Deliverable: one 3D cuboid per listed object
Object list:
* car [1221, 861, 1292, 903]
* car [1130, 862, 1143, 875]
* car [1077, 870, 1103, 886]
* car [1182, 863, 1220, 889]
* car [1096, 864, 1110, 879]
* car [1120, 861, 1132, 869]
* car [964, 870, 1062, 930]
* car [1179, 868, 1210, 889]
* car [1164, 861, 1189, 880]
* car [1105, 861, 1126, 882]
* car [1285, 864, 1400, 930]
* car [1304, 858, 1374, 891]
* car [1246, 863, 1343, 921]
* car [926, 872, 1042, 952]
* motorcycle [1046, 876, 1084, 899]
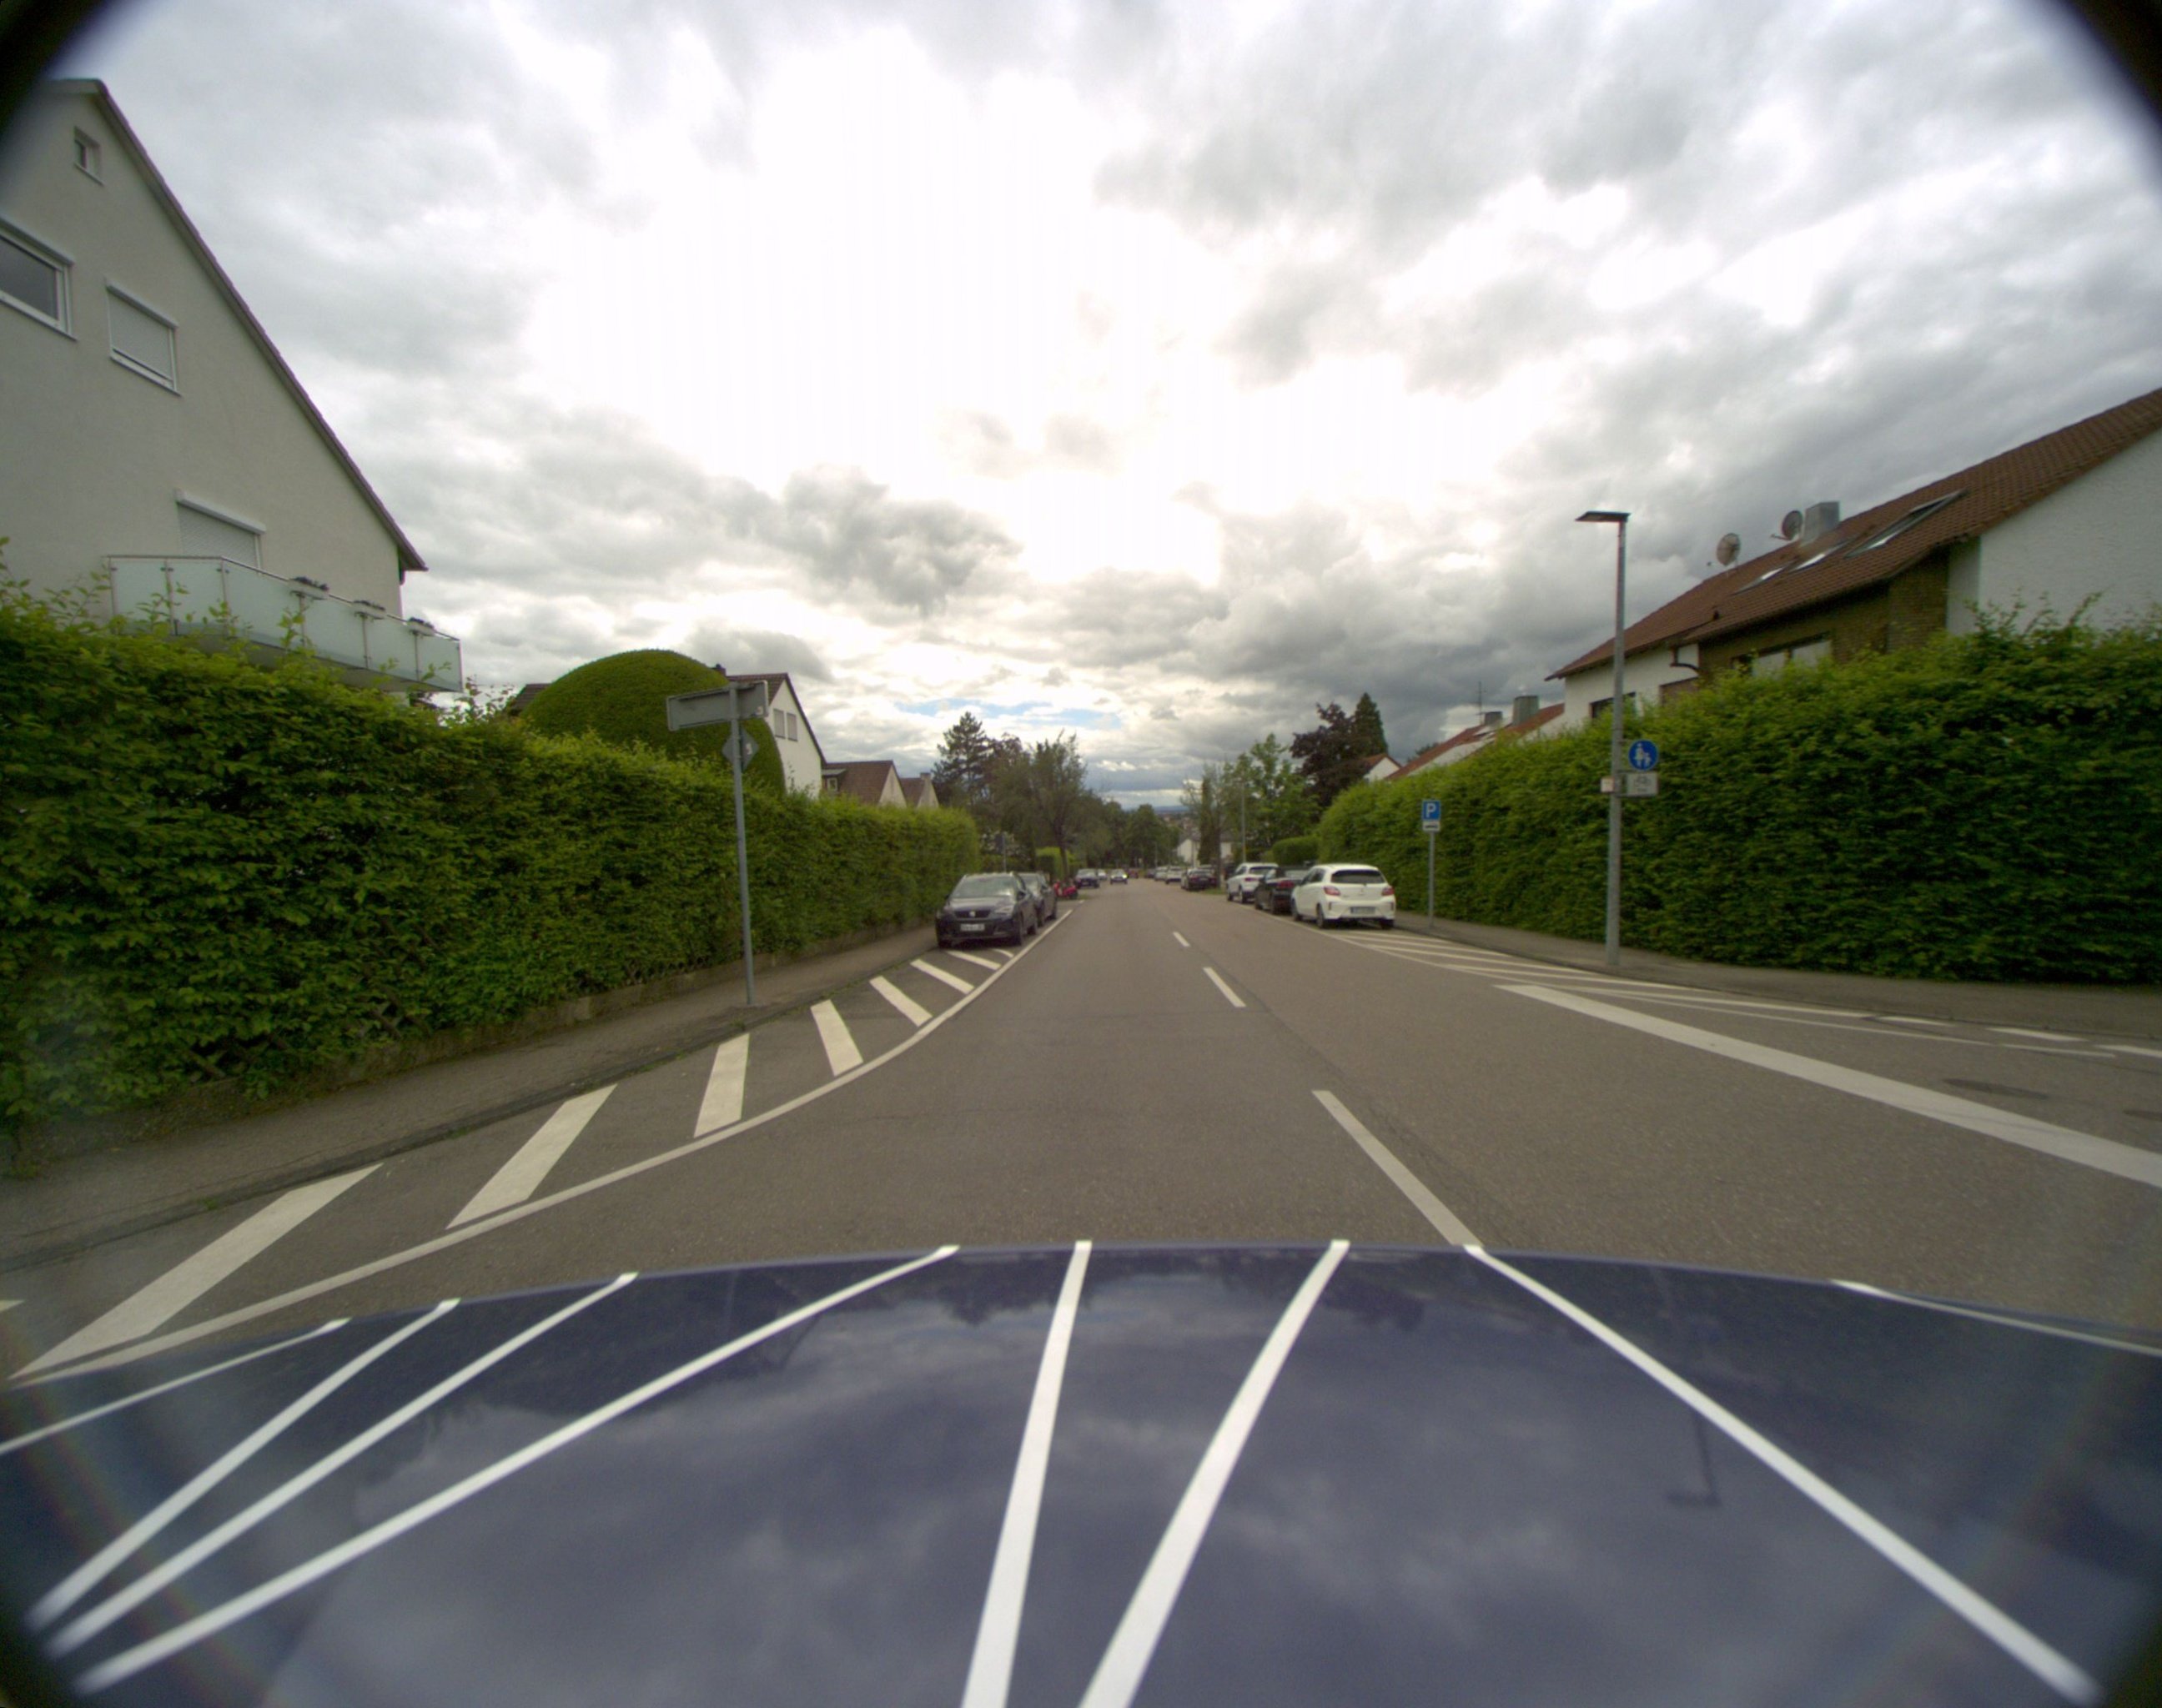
[{"bbox_3d":[6.676,1.040,29.303,1.890,1.481,4.343,-1,-1,3],"label":"car"},{"bbox_3d":[8.942,2.325,122.701,1.871,2.001,4.001,-4,0,3],"label":"car"},{"bbox_3d":[0.782,1.992,63.839,1.998,1.221,4.001,-2,0,3],"label":"car"},{"bbox_3d":[7.655,1.385,48.905,1.944,1.540,4.007,-1,-1,3],"label":"car"},{"bbox_3d":[3.269,2.602,112.208,1.746,2.001,4.001,-4,0,4],"label":"car"},{"bbox_3d":[9.697,2.311,164.881,1.999,1.711,3.998,-1,0,-6],"label":"car"},{"bbox_3d":[-1.843,1.265,22.350,1.927,1.485,5.211,-1,-1,5],"label":"car"},{"bbox_3d":[7.983,1.708,53.783,1.725,1.368,4.001,-1,-1,3],"label":"car"},{"bbox_3d":[9.004,1.557,71.683,1.935,1.521,4.000,-4,0,3],"label":"car"},{"bbox_3d":[3.641,1.796,79.027,1.998,2.001,4.002,-3,-1,3],"label":"car"},{"bbox_3d":[6.163,0.952,18.292,1.693,1.411,3.580,1,0,3],"label":"car"},{"bbox_3d":[12.377,0.972,36.585,2.887,1.496,1.500,-1,0,7],"label":"car"},{"bbox_3d":[6.337,1.054,23.107,1.786,1.481,4.740,2,0,3],"label":"car"},{"bbox_3d":[-1.994,1.182,16.919,1.794,1.479,4.380,-1,-1,3],"label":"car"},{"bbox_3d":[-0.848,1.772,40.549,1.942,1.127,0.658,-1,0,-24],"label":"motorcycle"}]
